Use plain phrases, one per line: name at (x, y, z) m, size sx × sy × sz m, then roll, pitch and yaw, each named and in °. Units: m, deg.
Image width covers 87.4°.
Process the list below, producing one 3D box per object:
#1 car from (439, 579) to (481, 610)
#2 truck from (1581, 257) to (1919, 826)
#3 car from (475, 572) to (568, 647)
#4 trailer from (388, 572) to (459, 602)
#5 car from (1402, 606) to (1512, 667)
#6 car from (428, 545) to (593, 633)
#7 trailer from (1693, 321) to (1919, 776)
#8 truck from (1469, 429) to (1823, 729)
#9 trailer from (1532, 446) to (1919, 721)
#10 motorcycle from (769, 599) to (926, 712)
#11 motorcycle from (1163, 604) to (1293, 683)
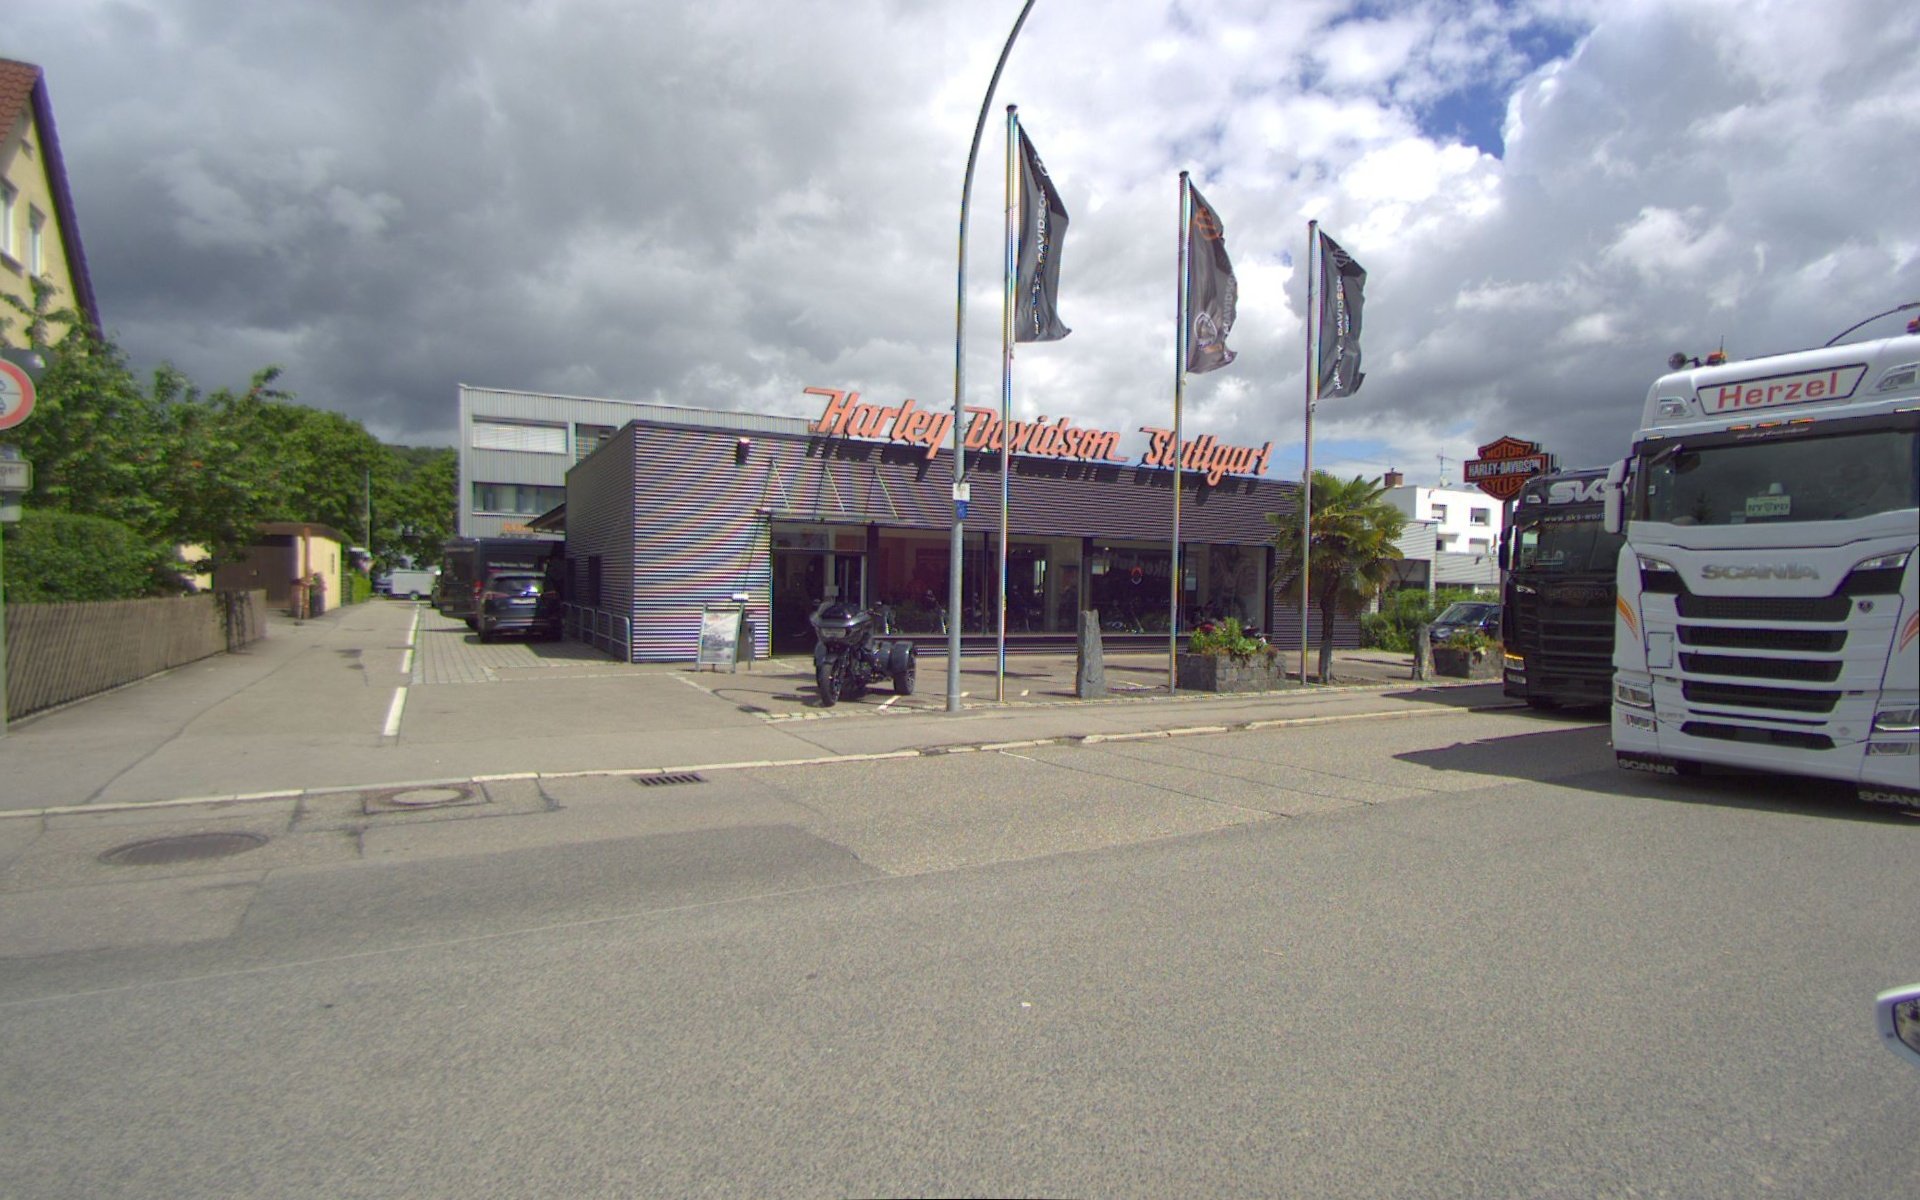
car at (-23.861, -0.297, 47.893) m, size 1.667 × 1.366 × 3.971 m, roll 1°, pitch 1°, yaw -27°
truck at (8.556, -0.417, 9.514) m, size 4.937 × 4.174 × 2.752 m, roll 1°, pitch 1°, yaw -36°
car at (-10.700, 0.160, 24.724) m, size 1.870 × 1.663 × 3.980 m, roll -1°, pitch 2°, yaw -21°
trailer at (-38.140, -0.926, 71.571) m, size 4.355 × 2.041 × 1.986 m, roll 1°, pitch 1°, yaw -26°
car at (12.205, 0.888, 24.650) m, size 2.654 × 1.382 × 1.040 m, roll 1°, pitch 1°, yaw -29°
car at (-13.113, -0.314, 29.510) m, size 1.964 × 2.397 × 3.992 m, roll 2°, pitch 1°, yaw 30°
trailer at (14.830, -0.352, 14.005) m, size 15.200 × 4.200 × 2.752 m, roll 1°, pitch 1°, yaw -36°
truck at (11.600, -0.262, 16.805) m, size 6.438 × 4.107 × 2.779 m, roll 1°, pitch 1°, yaw -36°
trailer at (16.938, -0.145, 20.709) m, size 15.406 × 4.107 × 2.779 m, roll 1°, pitch 1°, yaw -36°
motorcycle at (-1.439, 0.677, 13.592) m, size 1.436 × 1.309 × 2.454 m, roll 2°, pitch 1°, yaw 10°
motorcycle at (5.032, 0.775, 19.086) m, size 0.838 × 1.323 × 2.551 m, roll 1°, pitch 1°, yaw -29°
